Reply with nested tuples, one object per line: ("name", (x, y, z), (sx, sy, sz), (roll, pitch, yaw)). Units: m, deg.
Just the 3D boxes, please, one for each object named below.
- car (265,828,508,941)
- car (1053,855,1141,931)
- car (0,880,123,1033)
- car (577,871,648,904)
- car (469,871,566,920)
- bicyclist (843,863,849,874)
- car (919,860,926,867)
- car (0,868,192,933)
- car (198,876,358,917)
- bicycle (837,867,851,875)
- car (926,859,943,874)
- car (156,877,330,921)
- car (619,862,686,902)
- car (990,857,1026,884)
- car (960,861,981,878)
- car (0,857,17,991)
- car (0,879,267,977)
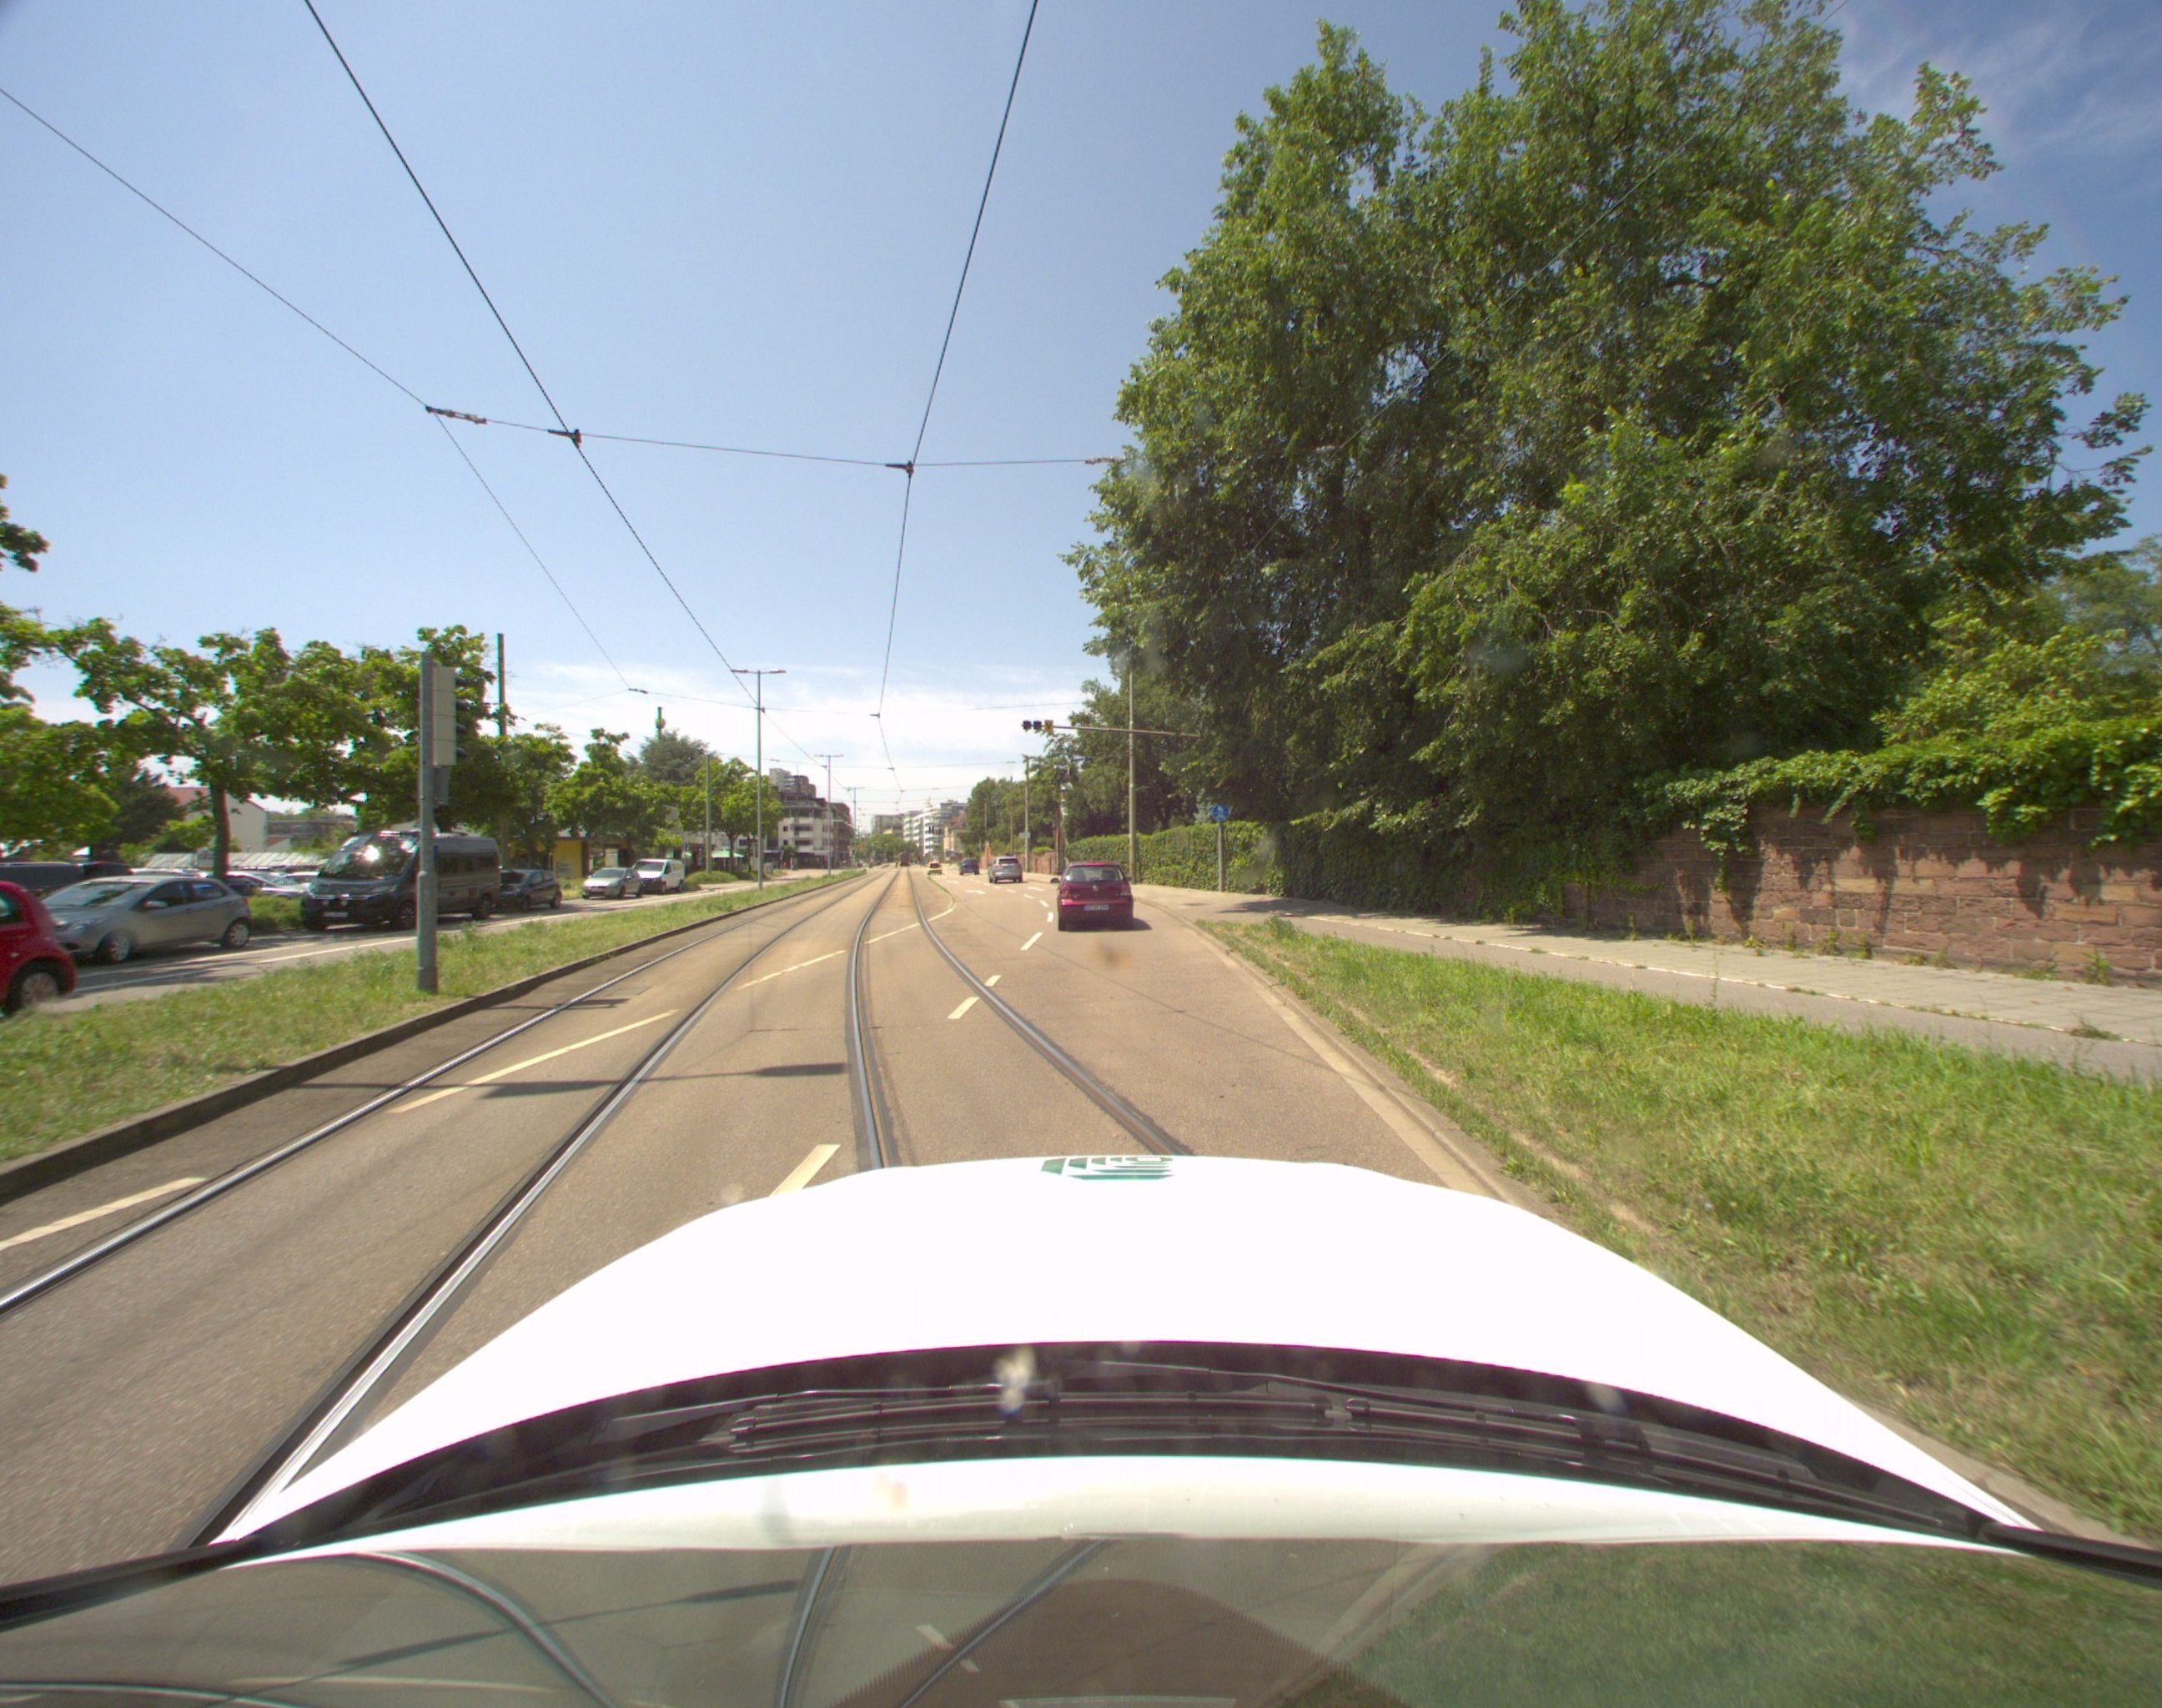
("car", (-18.917, 0.761, 22.769), (2.400, 2.656, 6.147), (2, -1, -12))
("car", (0.271, 0.801, 18.669), (1.607, 1.498, 3.994), (-2, 0, -4))
("car", (-10.910, 1.012, 6.943), (1.659, 1.410, 3.590), (-2, 0, -13))
("car", (-22.194, 1.561, 38.722), (1.631, 1.420, 3.853), (1, -1, -10))
("car", (-20.005, 1.437, 29.107), (1.313, 1.522, 4.007), (2, -1, -12))
("bicyclist", (-46.064, 2.916, 159.619), (0.961, 2.091, 0.845), (-1, 0, -25))
("car", (-32.429, 1.929, 166.538), (1.355, 1.252, 2.960), (0, 0, -12))
("car", (-31.508, 1.431, 25.502), (4.723, 1.813, 1.789), (-1, 0, -13))
("car", (-32.515, 1.706, 33.117), (4.217, 1.411, 1.847), (-1, 0, -15))
("bicycle", (-46.349, 3.277, 159.485), (2.522, 1.419, 0.632), (-2, 0, -26))
("car", (-17.267, 1.483, 95.896), (1.796, 1.683, 3.984), (0, 0, -12))
("car", (-31.685, 1.664, 30.929), (4.216, 1.411, 1.848), (-1, 0, -14))
("car", (-23.591, 1.485, 45.063), (1.877, 1.965, 5.143), (2, -1, -12))
("car", (-4.675, 1.017, 51.650), (1.796, 1.683, 3.984), (0, 0, -12))
("car", (-11.208, 1.517, 82.378), (1.775, 1.630, 3.983), (0, 0, -12))
("car", (-16.163, 0.971, 9.406), (1.863, 1.937, 4.788), (2, -1, -10))
("car", (-17.255, 1.254, 14.897), (1.406, 1.440, 3.823), (2, -1, -12))
